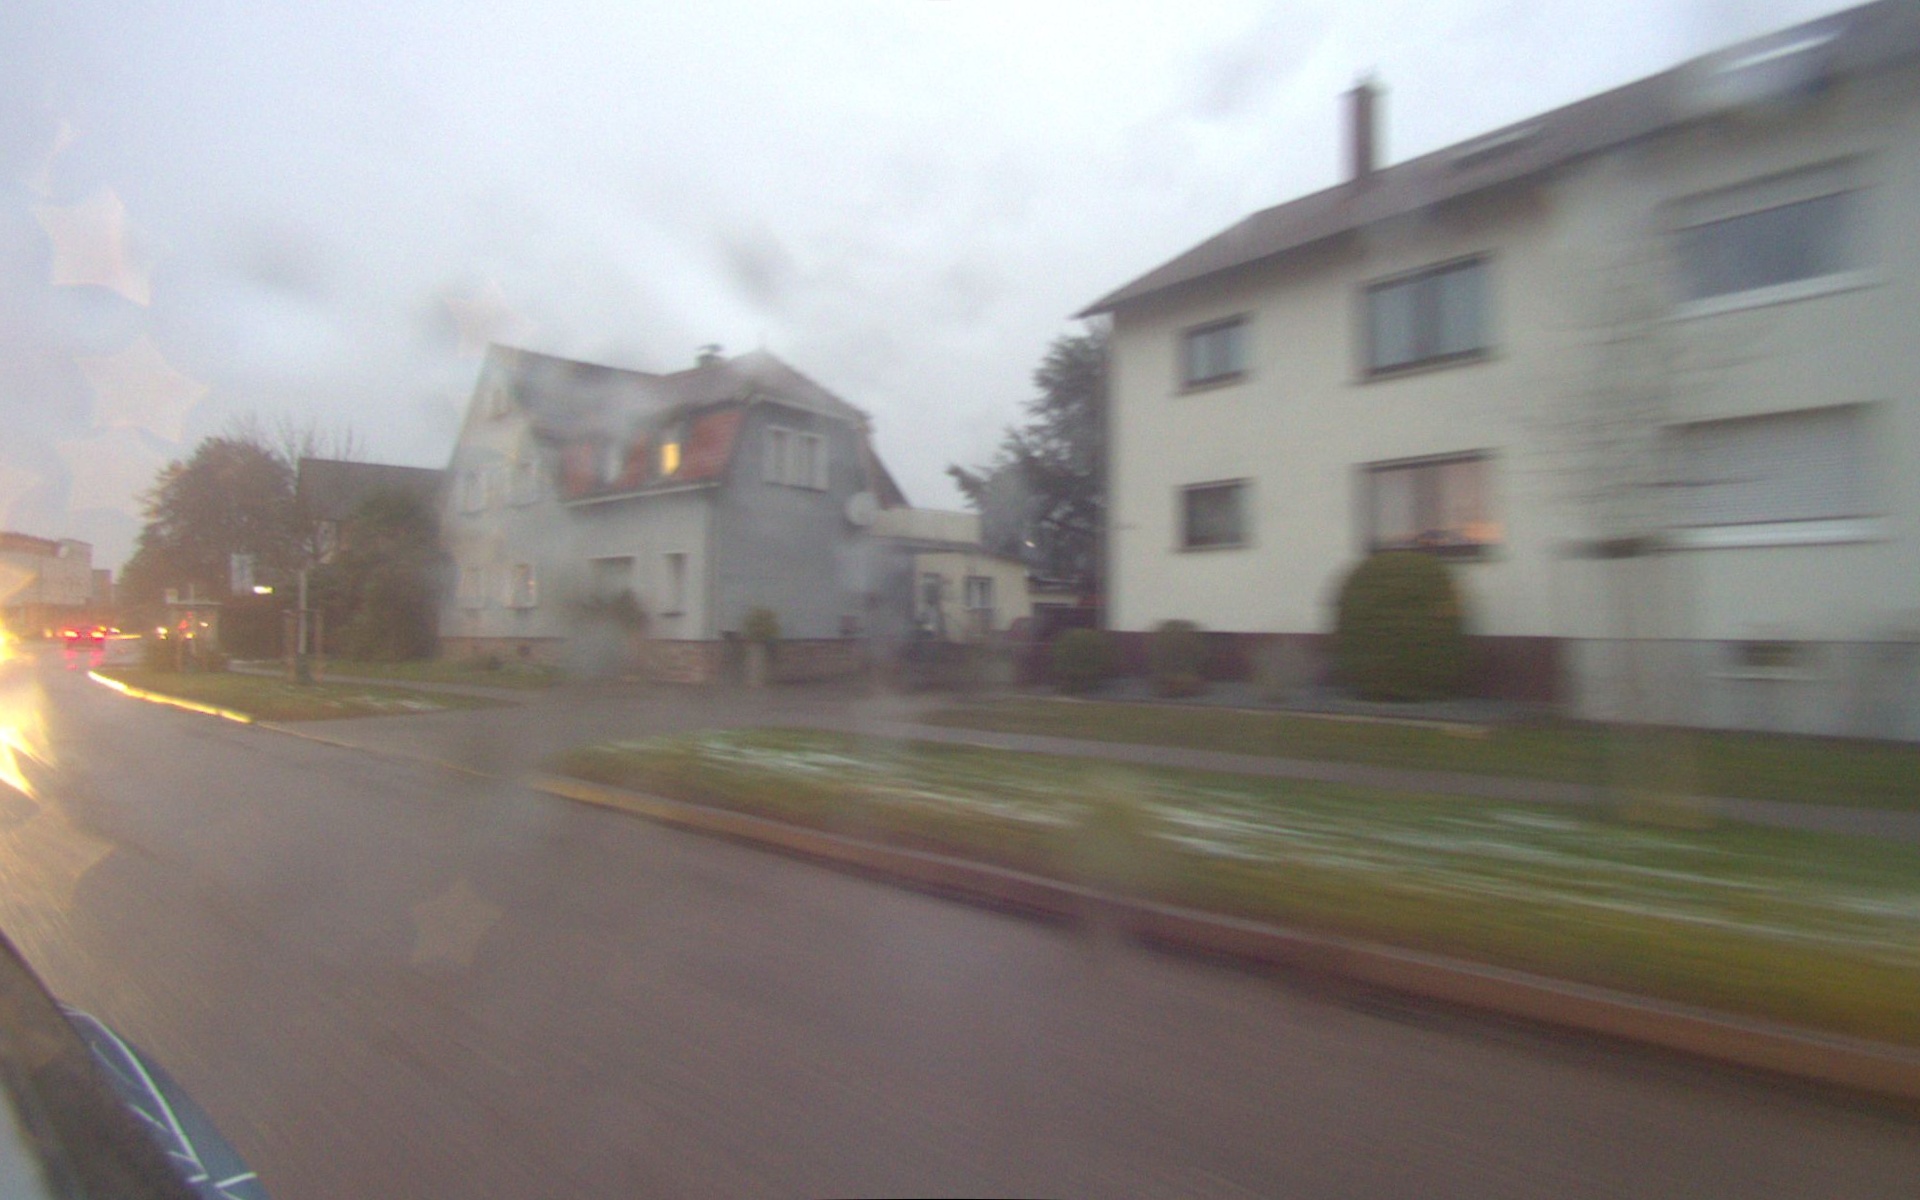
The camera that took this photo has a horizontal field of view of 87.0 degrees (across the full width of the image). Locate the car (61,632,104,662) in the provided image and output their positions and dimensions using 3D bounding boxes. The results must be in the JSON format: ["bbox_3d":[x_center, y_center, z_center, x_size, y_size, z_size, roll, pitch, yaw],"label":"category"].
[{"bbox_3d":[-54.807,2.925,63.272,1.938,1.711,4.007,0,-1,-40],"label":"car"}]

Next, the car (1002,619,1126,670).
[{"bbox_3d":[3.447,1.466,33.821,3.672,1.587,1.972,-2,-3,41],"label":"car"}]
